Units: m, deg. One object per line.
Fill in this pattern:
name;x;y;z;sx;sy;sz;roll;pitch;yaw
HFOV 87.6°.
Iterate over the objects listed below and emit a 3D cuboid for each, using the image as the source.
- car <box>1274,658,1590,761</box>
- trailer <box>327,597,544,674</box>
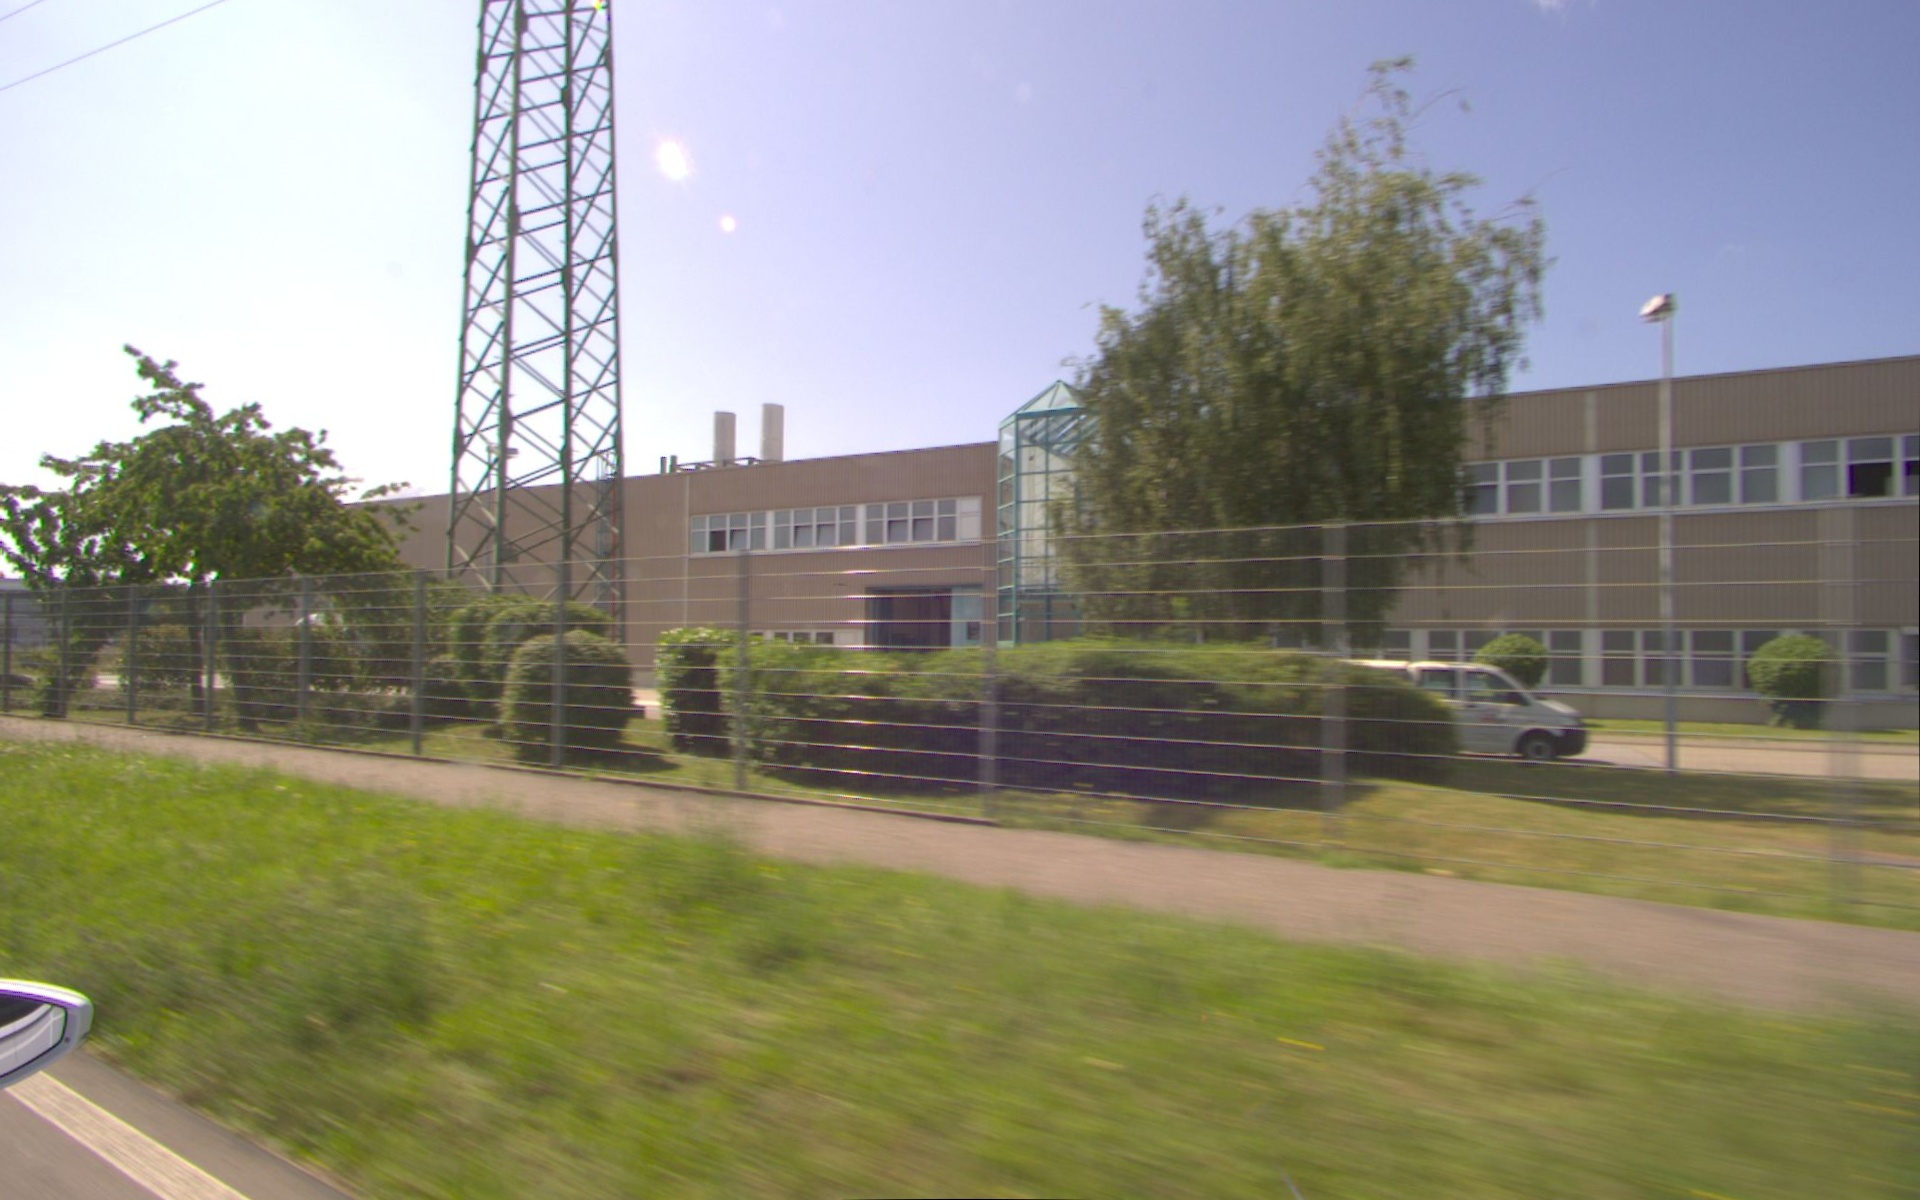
car;9.439;2.135;20.491;5.561;1.801;2.112;0;-3;24
trailer;-27.847;1.819;53.004;12.037;3.783;3.592;0;-1;25
